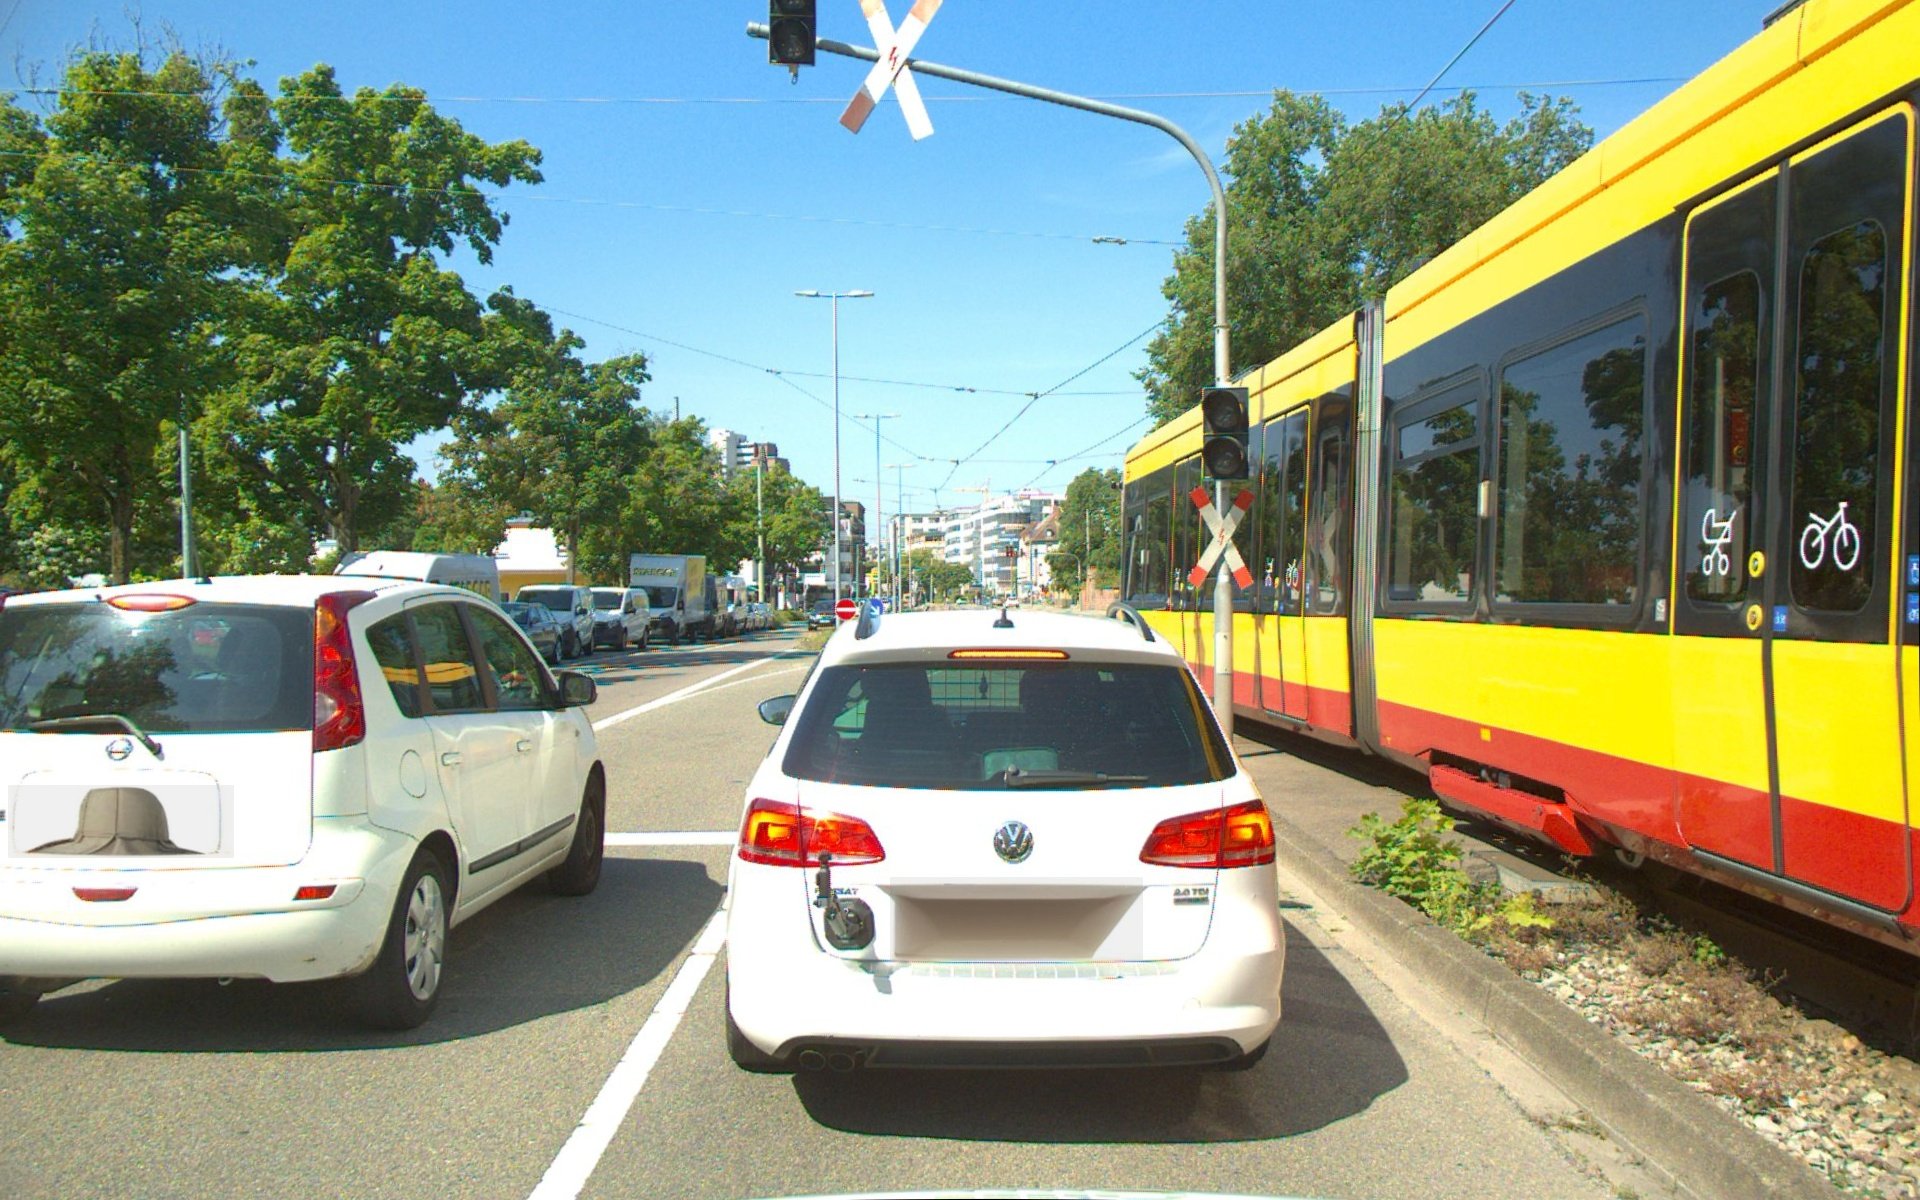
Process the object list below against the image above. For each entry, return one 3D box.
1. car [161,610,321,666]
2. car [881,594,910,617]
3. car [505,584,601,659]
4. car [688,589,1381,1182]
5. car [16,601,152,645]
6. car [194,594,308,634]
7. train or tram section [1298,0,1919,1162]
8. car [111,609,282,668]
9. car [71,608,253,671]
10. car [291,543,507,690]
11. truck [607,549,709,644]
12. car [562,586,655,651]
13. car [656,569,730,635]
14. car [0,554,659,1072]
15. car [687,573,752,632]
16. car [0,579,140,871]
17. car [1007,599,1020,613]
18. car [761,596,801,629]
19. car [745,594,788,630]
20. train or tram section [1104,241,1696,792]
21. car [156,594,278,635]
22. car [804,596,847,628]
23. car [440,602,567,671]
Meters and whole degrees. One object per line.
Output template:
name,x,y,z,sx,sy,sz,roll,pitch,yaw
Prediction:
car,-21.225,1.107,48.931,3.909,1.440,1.728,-2,0,-5
car,-4.379,0.340,112.741,1.670,1.499,4.589,-1,0,0
car,-11.017,0.535,45.123,1.827,1.900,5.068,1,0,-6
car,0.165,0.710,6.191,1.726,1.455,3.999,-1,0,-1
car,-37.744,0.989,71.391,4.698,1.819,2.062,1,0,-5
car,-34.822,0.686,81.312,4.698,1.819,2.062,1,0,-5
train or tram section,3.968,-0.465,5.764,2.812,3.923,12.389,-1,0,-1
car,-21.239,1.062,46.113,3.909,1.440,1.728,-2,0,-5
car,-21.062,1.029,43.785,3.909,1.440,1.728,-2,0,-5
car,-10.707,0.279,32.122,2.079,2.560,5.817,1,0,1
truck,-10.869,-0.140,60.143,2.371,3.205,6.996,1,0,0
car,-10.912,0.534,51.718,1.826,1.900,5.412,1,0,-1
car,-10.944,0.072,68.141,2.079,2.560,5.733,1,0,0
car,-2.563,0.637,7.301,1.628,1.575,4.546,0,0,0
car,-10.915,0.107,75.577,2.079,2.560,5.733,1,0,0
car,-6.036,0.713,8.713,1.642,1.580,3.579,-2,0,-1
car,7.252,0.813,223.219,1.575,1.896,3.730,1,0,-1
car,-10.620,0.723,98.419,1.826,1.900,5.412,1,0,-1
car,-10.677,0.638,91.502,1.826,1.900,5.412,1,0,-1
train or tram section,3.647,-0.642,17.196,2.813,3.923,10.532,-1,0,-3
car,-34.299,0.674,76.452,4.698,1.819,2.062,1,0,-5
car,-6.673,0.596,82.510,1.670,1.499,4.589,-1,0,0
car,-10.575,0.805,38.596,1.826,1.440,4.278,1,0,-1
